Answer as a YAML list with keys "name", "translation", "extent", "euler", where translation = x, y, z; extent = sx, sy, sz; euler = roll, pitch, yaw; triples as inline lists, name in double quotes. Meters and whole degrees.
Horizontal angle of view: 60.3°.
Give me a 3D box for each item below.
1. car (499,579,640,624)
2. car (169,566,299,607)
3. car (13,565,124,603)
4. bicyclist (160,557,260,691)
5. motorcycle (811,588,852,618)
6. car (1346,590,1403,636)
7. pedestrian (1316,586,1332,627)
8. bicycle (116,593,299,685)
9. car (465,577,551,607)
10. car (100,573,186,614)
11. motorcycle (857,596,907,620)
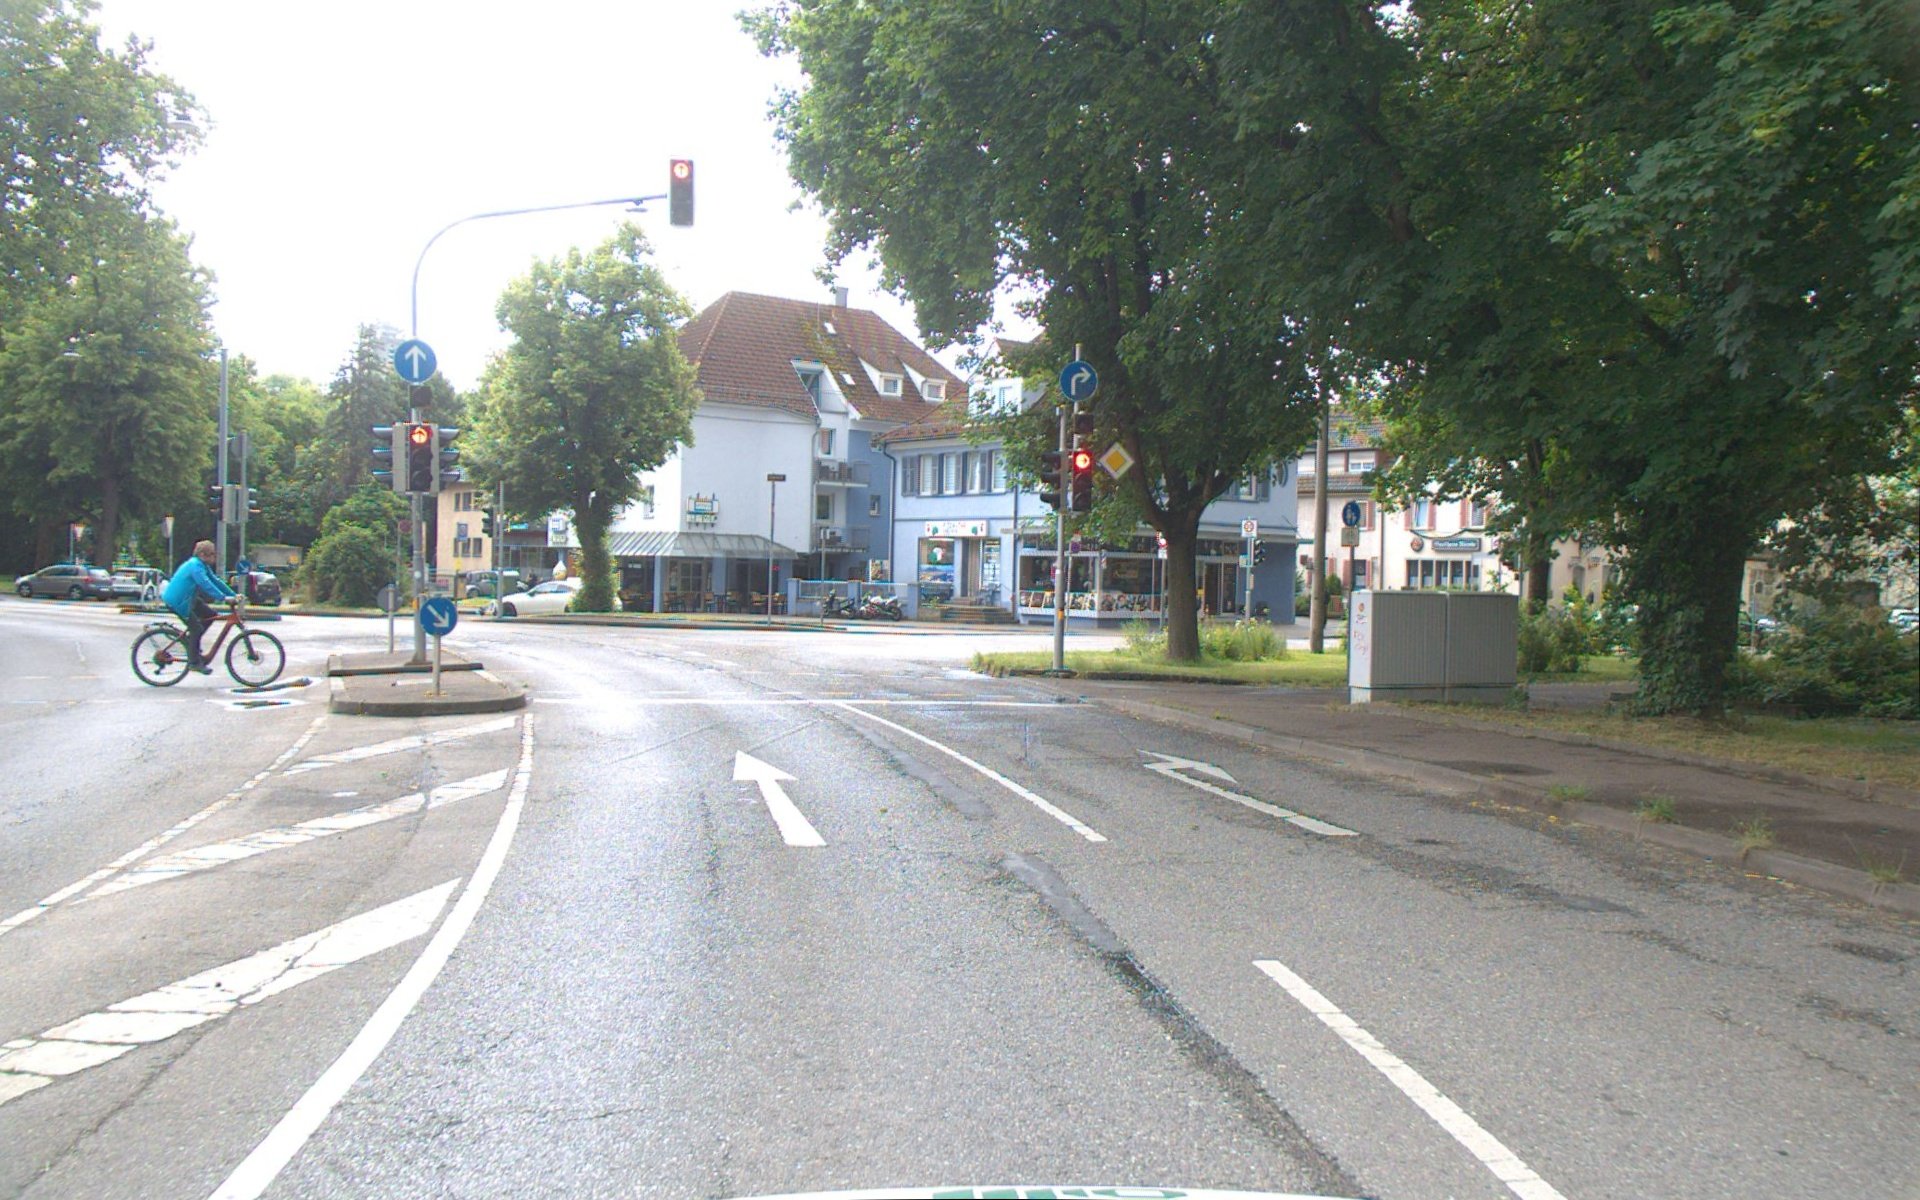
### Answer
- name: "car"
  translation: [-13.702, 0.042, 58.097]
  extent: [4.483, 1.544, 2.000]
  euler: [0, 1, 21]
- name: "car"
  translation: [-28.044, -0.510, 63.872]
  extent: [4.483, 1.544, 2.000]
  euler: [0, 1, 21]
- name: "car"
  translation: [-38.623, -0.708, 71.676]
  extent: [3.902, 1.601, 2.002]
  euler: [0, 1, 14]
- name: "bicyclist"
  translation: [-9.408, 0.294, 20.791]
  extent: [1.084, 1.627, 0.934]
  euler: [1, 0, -23]
- name: "motorcycle"
  translation: [-5.023, 0.123, 64.499]
  extent: [1.464, 1.126, 0.561]
  euler: [0, 5, 19]
- name: "car"
  translation: [17.765, 0.546, 70.775]
  extent: [1.818, 1.898, 3.560]
  euler: [0, 1, 24]
- name: "pedestrian"
  translation: [14.153, 0.253, 64.333]
  extent: [0.401, 1.579, 0.493]
  euler: [0, 0, -42]
- name: "bicycle"
  translation: [-9.419, 0.477, 20.795]
  extent: [2.042, 1.101, 0.934]
  euler: [1, 0, -24]
- name: "car"
  translation: [-23.360, -0.435, 85.520]
  extent: [3.951, 1.512, 1.740]
  euler: [0, 1, -34]
- name: "car"
  translation: [-36.958, -0.311, 74.928]
  extent: [1.953, 1.803, 3.999]
  euler: [0, 1, -2]
- name: "motorcycle"
  translation: [-2.972, 0.298, 63.197]
  extent: [1.799, 0.862, 0.561]
  euler: [0, 6, 23]
